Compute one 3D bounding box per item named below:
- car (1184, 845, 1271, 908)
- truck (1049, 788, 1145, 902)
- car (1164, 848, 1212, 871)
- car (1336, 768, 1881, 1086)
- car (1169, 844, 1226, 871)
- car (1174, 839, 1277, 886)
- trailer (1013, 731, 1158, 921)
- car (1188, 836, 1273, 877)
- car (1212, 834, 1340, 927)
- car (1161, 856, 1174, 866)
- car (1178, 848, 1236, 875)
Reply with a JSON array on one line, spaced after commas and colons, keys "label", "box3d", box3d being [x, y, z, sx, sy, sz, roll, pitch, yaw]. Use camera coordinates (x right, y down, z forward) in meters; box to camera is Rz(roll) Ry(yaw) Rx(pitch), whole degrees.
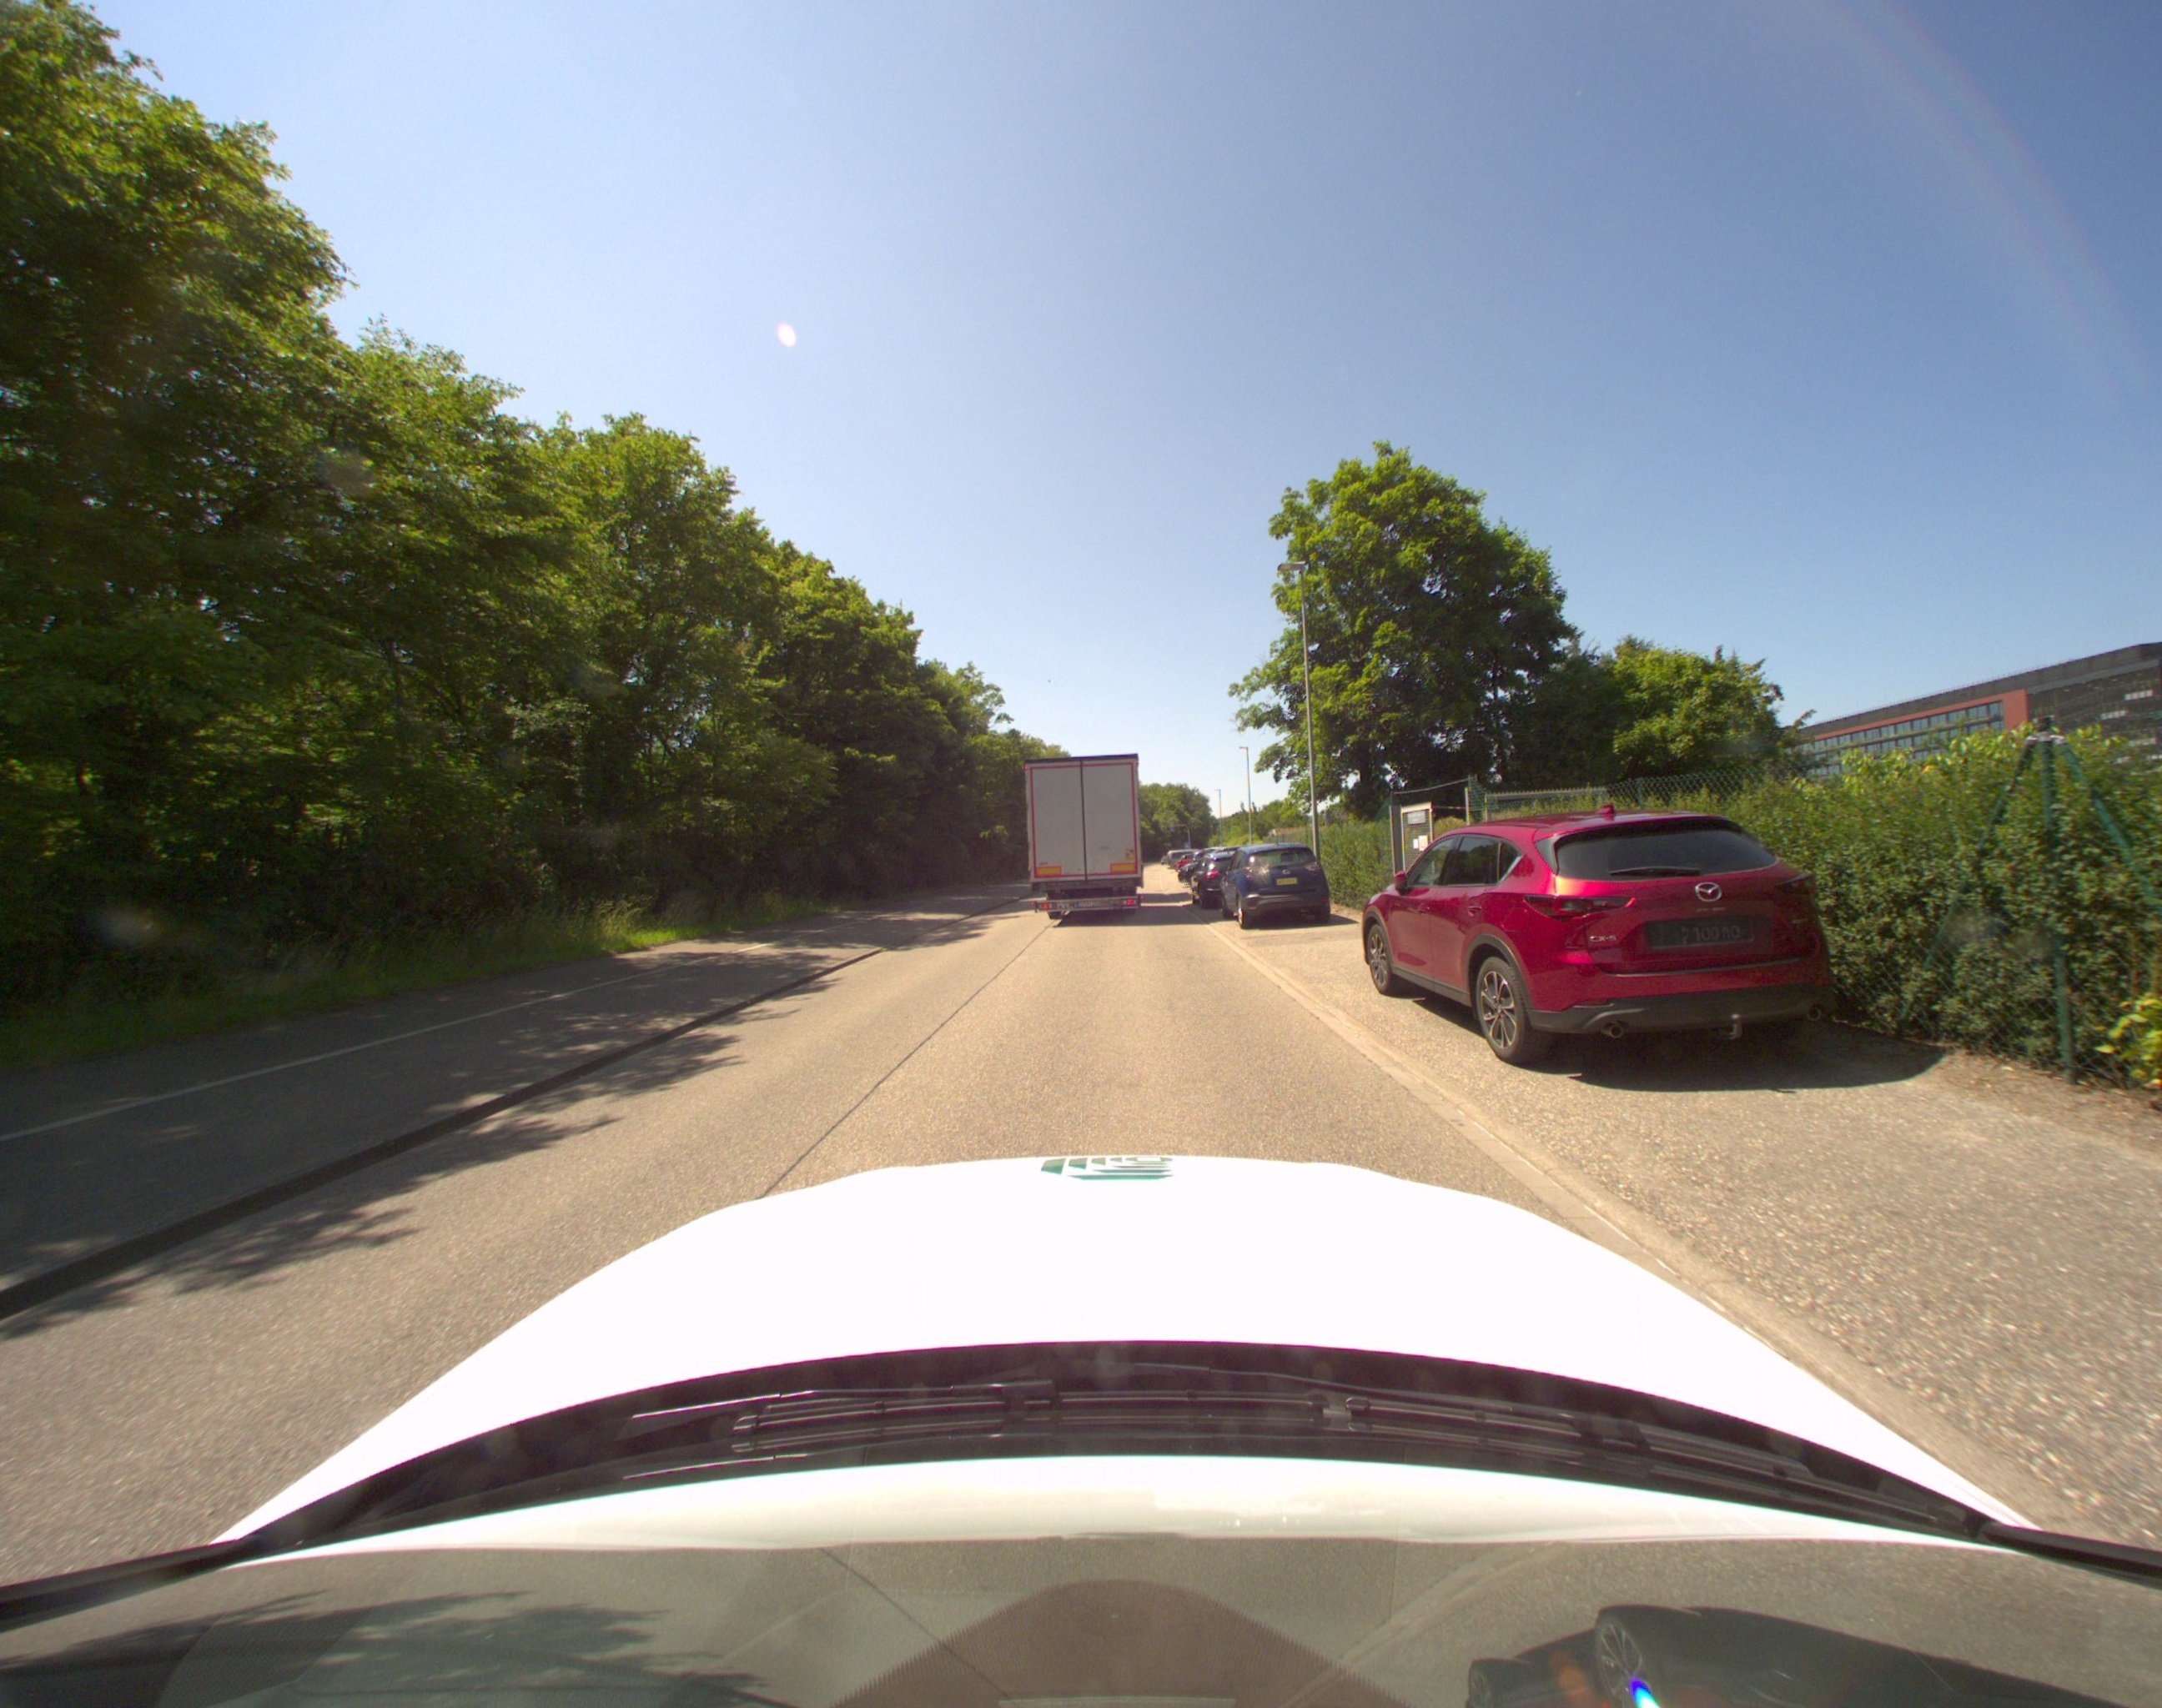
[{"label": "car", "box3d": [4.098, 0.585, 23.518, 1.782, 1.481, 4.669, -6, 0, 3]}, {"label": "truck", "box3d": [0.652, -0.309, 30.323, 3.102, 3.725, 6.417, -2, 0, 2]}, {"label": "car", "box3d": [8.731, 0.448, 66.623, 3.563, 1.502, 1.842, -6, 0, 0]}, {"label": "car", "box3d": [3.719, 0.422, 6.907, 1.782, 1.658, 4.456, -6, 0, 3]}, {"label": "car", "box3d": [9.971, 0.300, 69.767, 4.597, 1.848, 1.999, -6, 0, 6]}, {"label": "car", "box3d": [6.788, 0.392, 38.607, 4.452, 1.704, 1.915, -6, 0, 2]}, {"label": "trailer", "box3d": [0.365, -0.603, 23.720, 3.100, 4.102, 11.544, -1, 0, 3]}, {"label": "car", "box3d": [7.978, 0.138, 43.726, 4.236, 1.698, 1.857, -6, 0, 6]}, {"label": "car", "box3d": [3.923, 0.471, 17.079, 1.782, 1.603, 4.132, -3, 0, 3]}, {"label": "car", "box3d": [13.545, 1.046, 127.024, 1.770, 1.486, 4.010, -2, 0, 9]}, {"label": "car", "box3d": [8.957, 0.509, 58.077, 3.900, 1.478, 1.848, -6, 0, 5]}]
